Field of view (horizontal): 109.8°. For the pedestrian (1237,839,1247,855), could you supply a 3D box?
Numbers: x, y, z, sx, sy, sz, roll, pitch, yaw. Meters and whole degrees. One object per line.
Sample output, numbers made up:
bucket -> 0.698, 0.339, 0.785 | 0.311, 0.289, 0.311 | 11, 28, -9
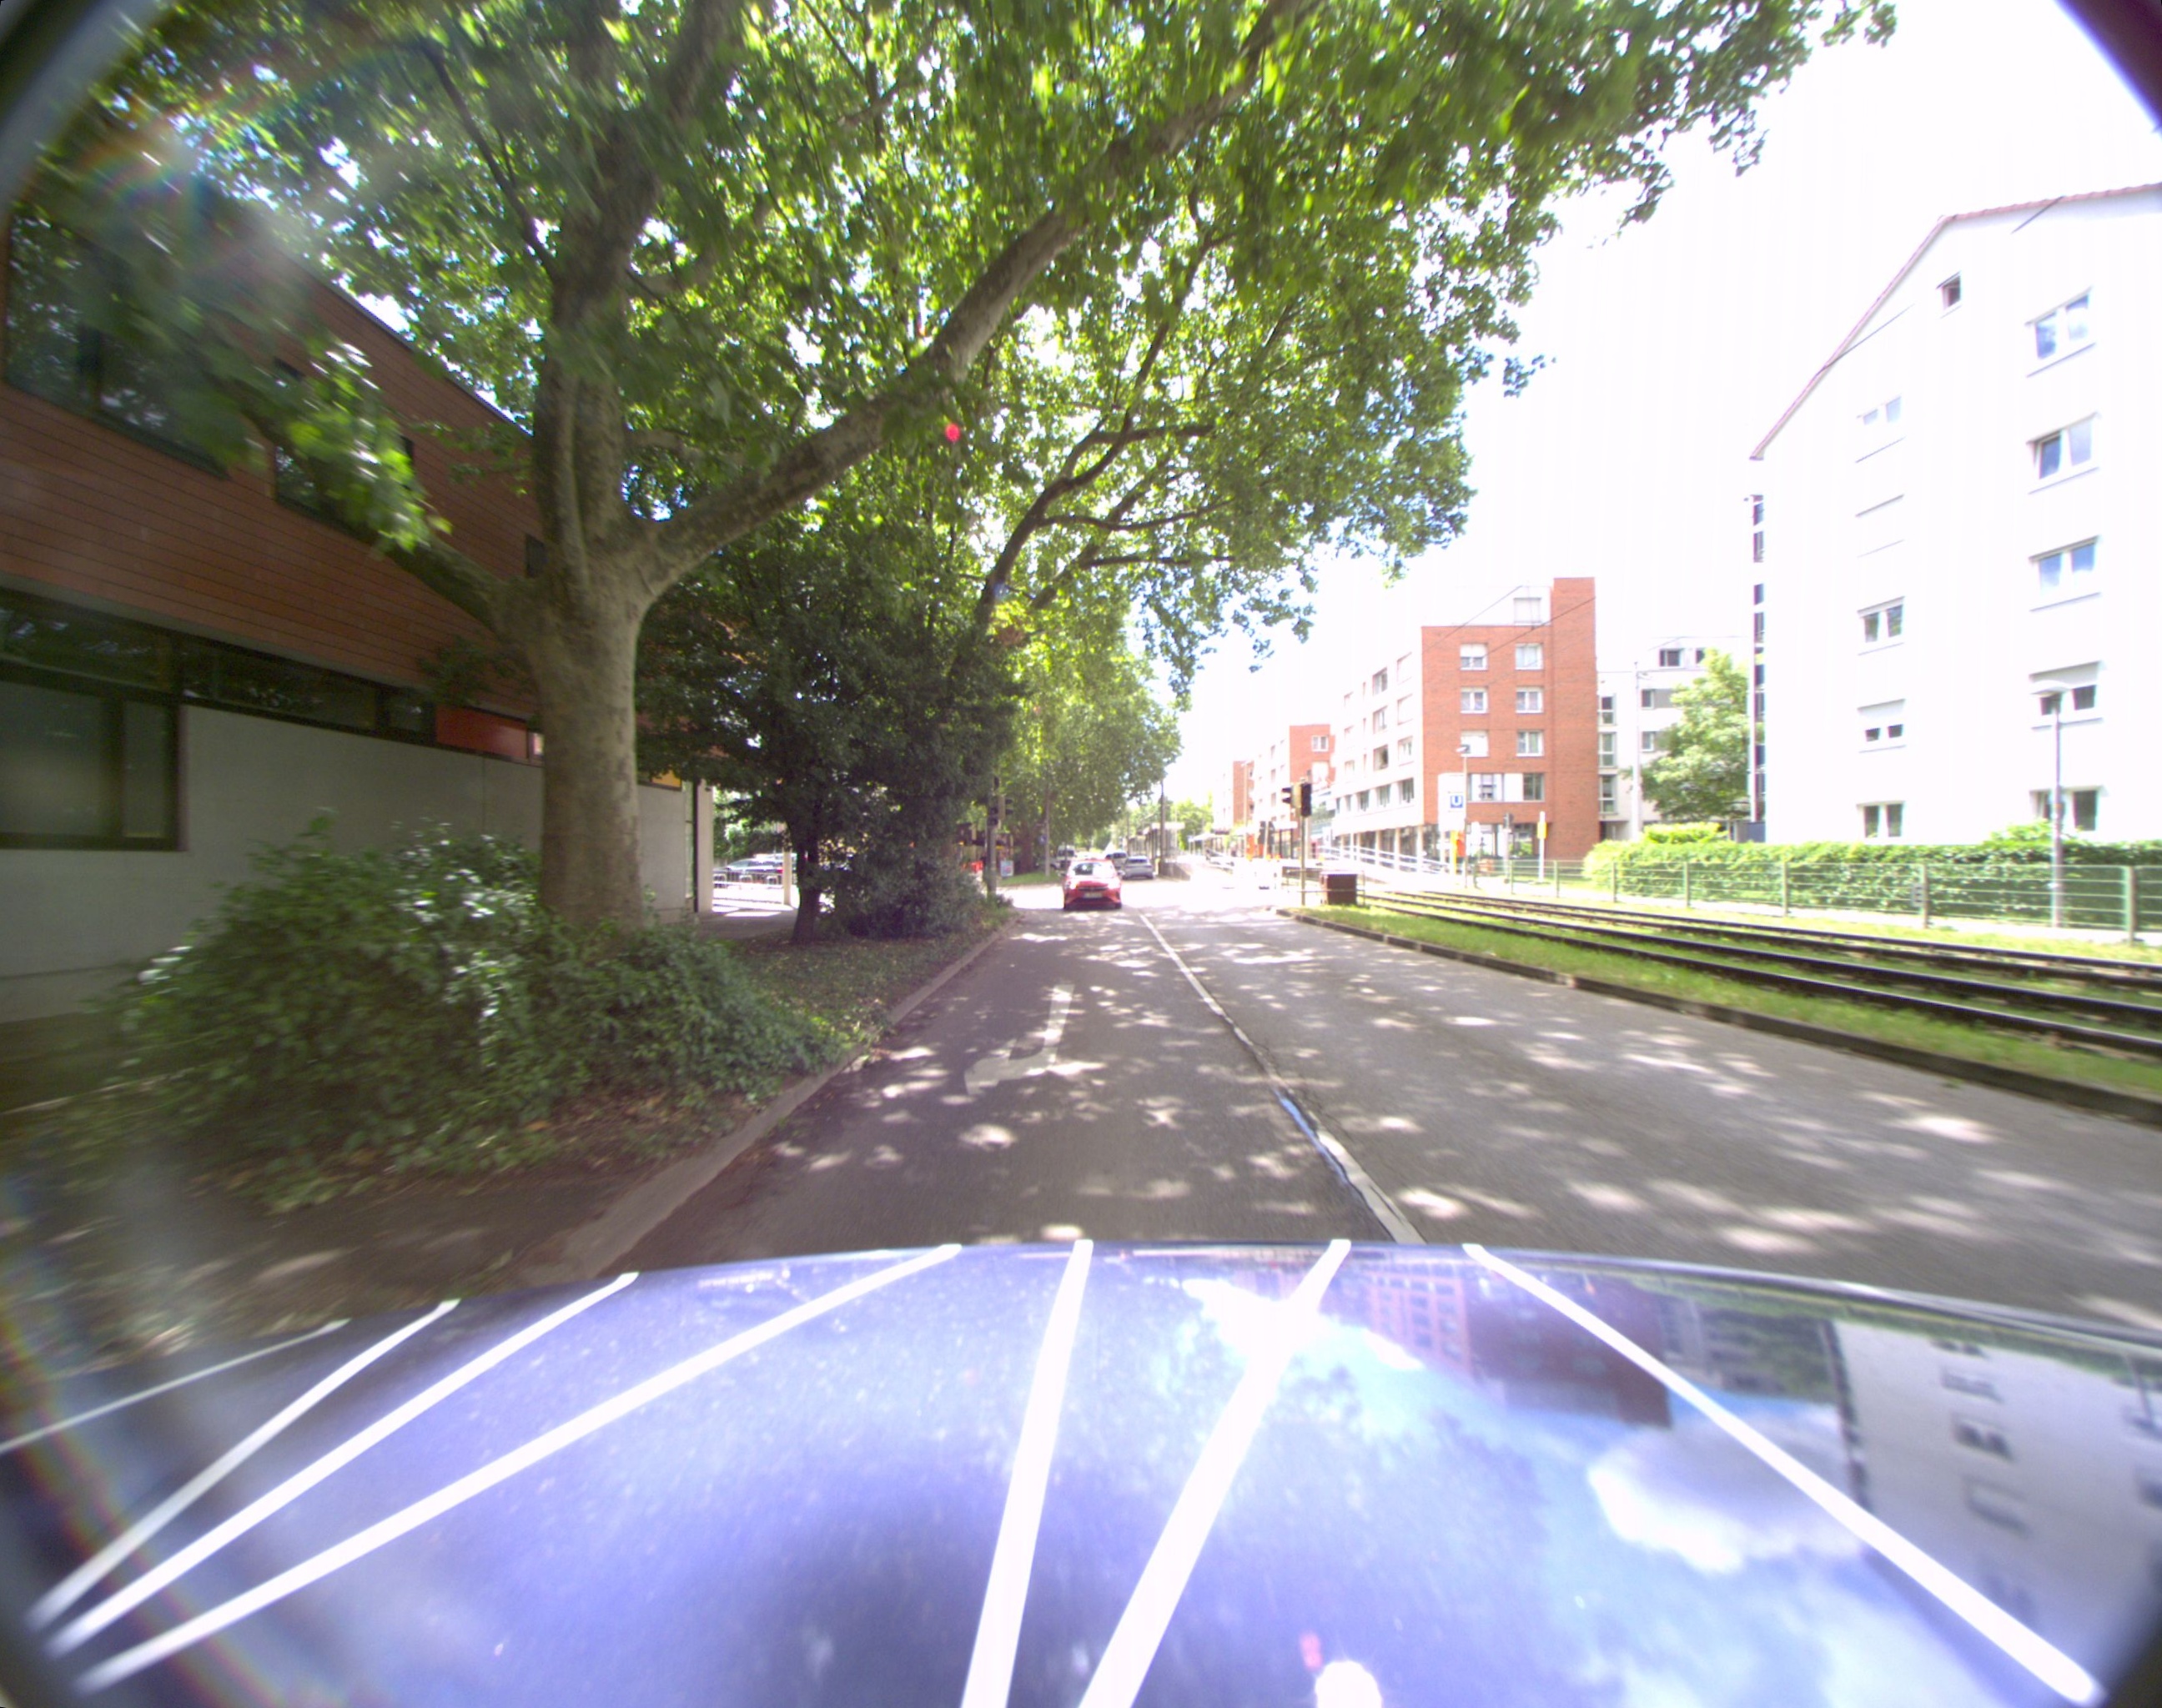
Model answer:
pedestrian -> 16.435, -0.728, 77.514 | 0.753, 1.619, 0.816 | -1, 1, 1

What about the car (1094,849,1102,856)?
car -> 3.942, -0.366, 176.489 | 1.766, 1.472, 3.753 | -2, 0, 0

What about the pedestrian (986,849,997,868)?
pedestrian -> -8.836, 0.417, 74.803 | 0.607, 1.791, 0.923 | -1, 2, -45

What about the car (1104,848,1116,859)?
car -> 4.423, -0.122, 115.888 | 1.758, 1.624, 4.118 | -2, 0, 0

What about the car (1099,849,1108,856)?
car -> 4.604, -0.306, 157.310 | 1.766, 1.472, 4.576 | -2, 0, 0

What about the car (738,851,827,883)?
car -> -15.939, 0.681, 40.771 | 4.105, 1.645, 1.810 | 0, 0, -7

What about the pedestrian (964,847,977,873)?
pedestrian -> -7.270, 0.389, 50.089 | 0.761, 1.715, 0.658 | 1, 1, -3

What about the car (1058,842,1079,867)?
car -> -1.314, 0.028, 82.075 | 1.909, 2.566, 6.833 | 1, 0, 1

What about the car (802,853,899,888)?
car -> -11.115, 0.791, 36.898 | 4.192, 1.672, 2.012 | 0, 0, -7

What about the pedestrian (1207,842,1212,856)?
pedestrian -> 16.442, -0.629, 97.035 | 0.535, 1.753, 0.528 | 0, 1, -2

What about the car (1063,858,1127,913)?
car -> 0.418, 0.879, 22.932 | 1.712, 1.439, 3.670 | -2, 0, 1

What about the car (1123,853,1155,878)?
car -> 3.541, 0.692, 46.943 | 1.640, 1.426, 3.851 | -1, 0, -1

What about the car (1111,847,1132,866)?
car -> 4.125, 0.259, 77.142 | 1.758, 1.829, 4.646 | -3, 0, -1

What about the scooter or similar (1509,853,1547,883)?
scooter or similar -> 18.849, 0.589, 32.055 | 1.299, 1.246, 0.466 | 0, 0, 10

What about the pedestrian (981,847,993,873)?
pedestrian -> -6.215, 0.385, 50.304 | 0.625, 1.666, 0.772 | 0, 1, 1

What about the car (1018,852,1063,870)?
car -> -3.543, 0.619, 66.391 | 3.841, 1.553, 1.619 | 1, 1, -6
